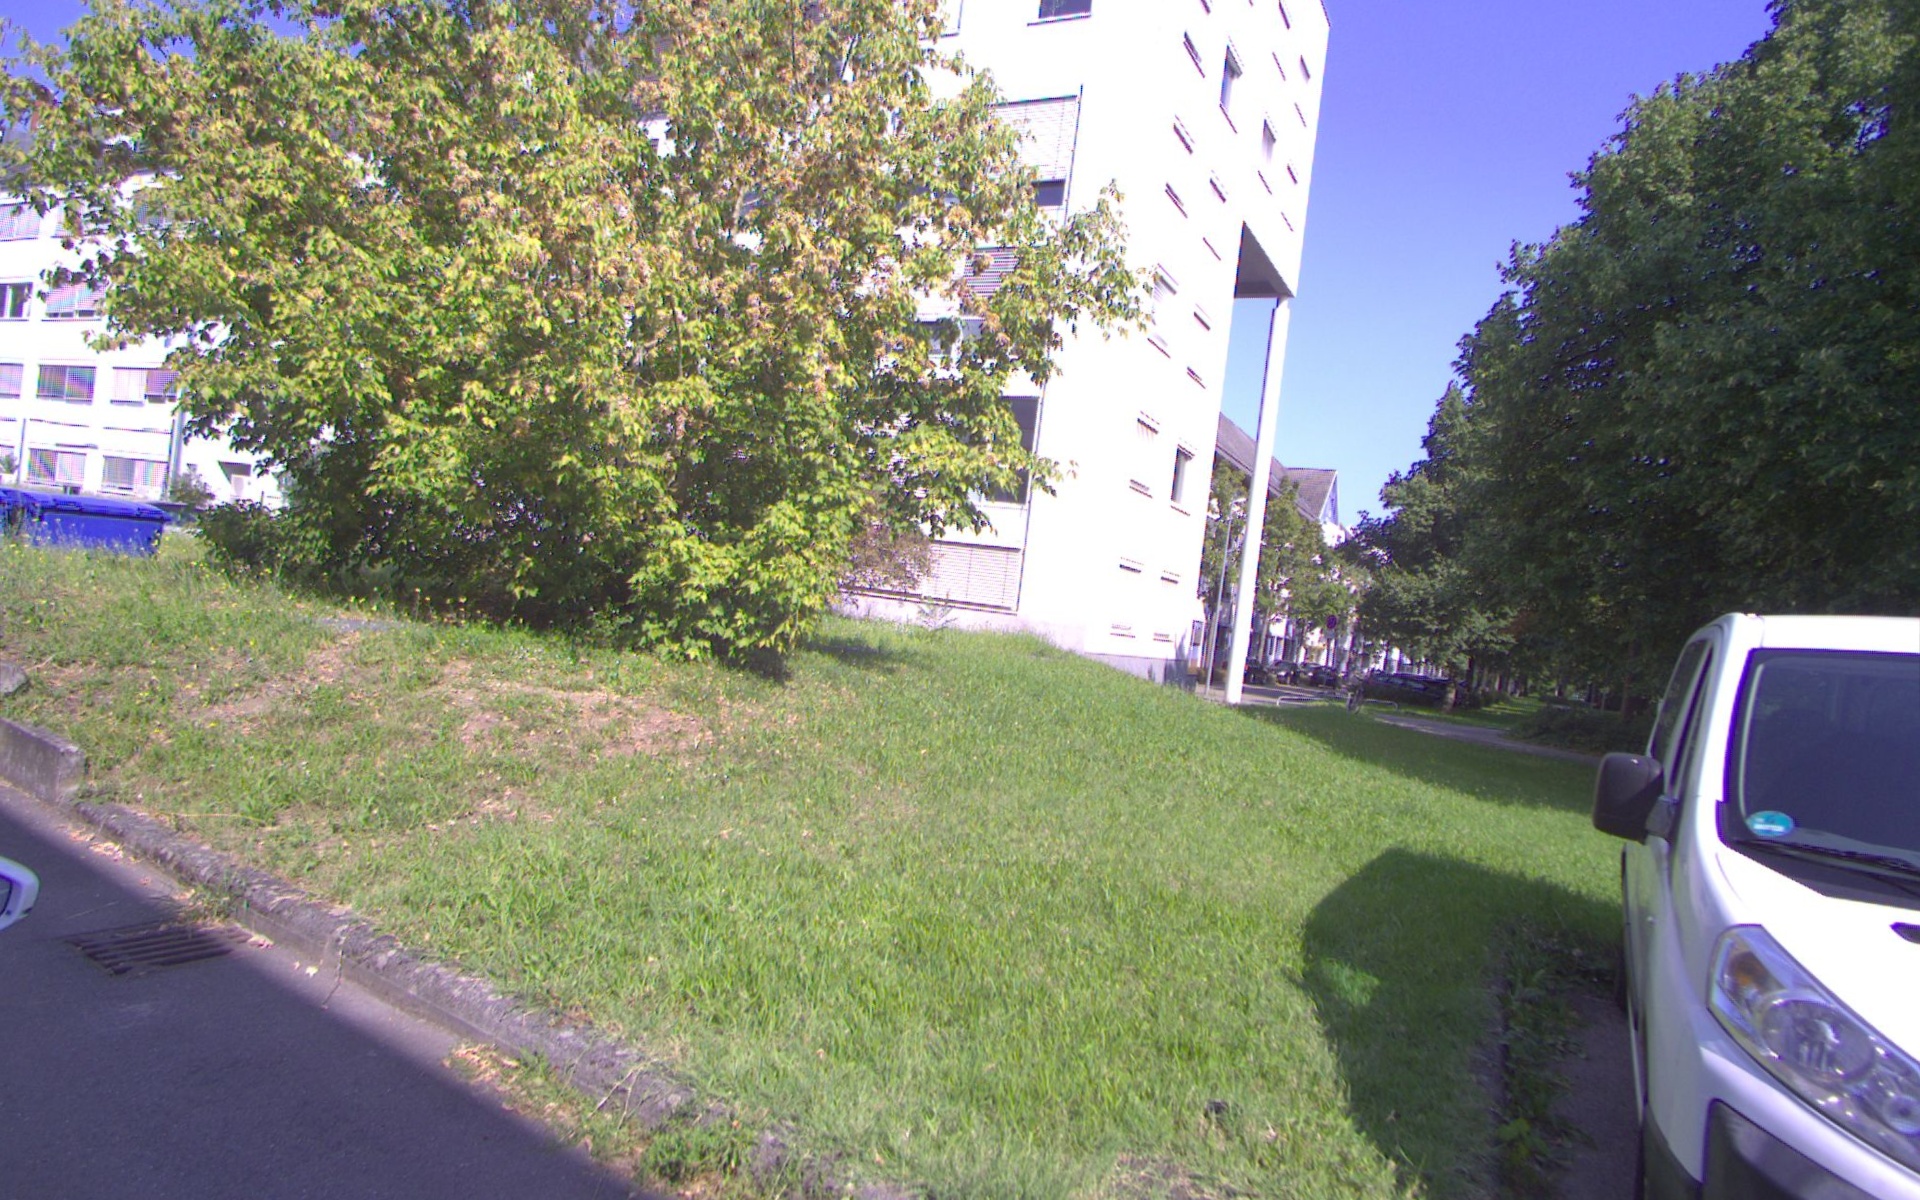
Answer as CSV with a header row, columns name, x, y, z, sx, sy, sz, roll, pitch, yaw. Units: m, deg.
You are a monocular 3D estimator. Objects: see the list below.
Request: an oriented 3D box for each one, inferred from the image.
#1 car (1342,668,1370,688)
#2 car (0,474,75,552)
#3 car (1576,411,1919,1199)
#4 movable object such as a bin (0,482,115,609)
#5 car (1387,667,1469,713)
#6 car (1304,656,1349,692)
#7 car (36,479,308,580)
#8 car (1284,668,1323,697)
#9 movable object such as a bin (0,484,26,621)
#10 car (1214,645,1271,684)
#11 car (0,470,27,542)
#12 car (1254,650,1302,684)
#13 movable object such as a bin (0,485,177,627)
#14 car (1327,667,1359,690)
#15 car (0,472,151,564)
name,x,y,z,sx,sy,sz,roll,pitch,yaw
car,36.009,7.108,91.532,1.736,1.564,3.682,7,-2,30
car,-22.579,-2.153,22.357,1.846,1.608,3.871,7,0,26
car,3.289,0.949,3.240,2.011,1.944,4.963,6,-1,33
movable object such as a bin,-11.040,-0.666,11.919,1.099,1.357,1.235,7,0,34
car,27.071,5.220,58.216,3.933,2.037,1.997,7,-1,32
car,24.381,4.947,66.877,1.966,2.037,3.996,7,-2,30
car,-14.657,-1.264,18.900,1.772,1.566,3.619,7,4,29
car,24.435,5.863,71.421,1.736,1.748,3.996,7,-2,30
movable object such as a bin,-10.310,-0.564,9.873,1.081,1.357,1.312,7,0,28
car,15.531,3.565,55.158,1.919,1.748,3.996,7,-2,30
car,-25.022,-2.519,23.630,1.740,1.712,4.125,7,0,28
car,19.934,4.195,62.886,1.919,1.748,3.996,7,-2,30
movable object such as a bin,-9.627,-0.467,11.014,1.058,1.357,1.229,7,0,26
car,31.178,6.416,81.773,1.736,1.543,3.996,7,-2,30
car,-19.712,-1.804,21.048,1.862,1.608,3.811,7,0,21
